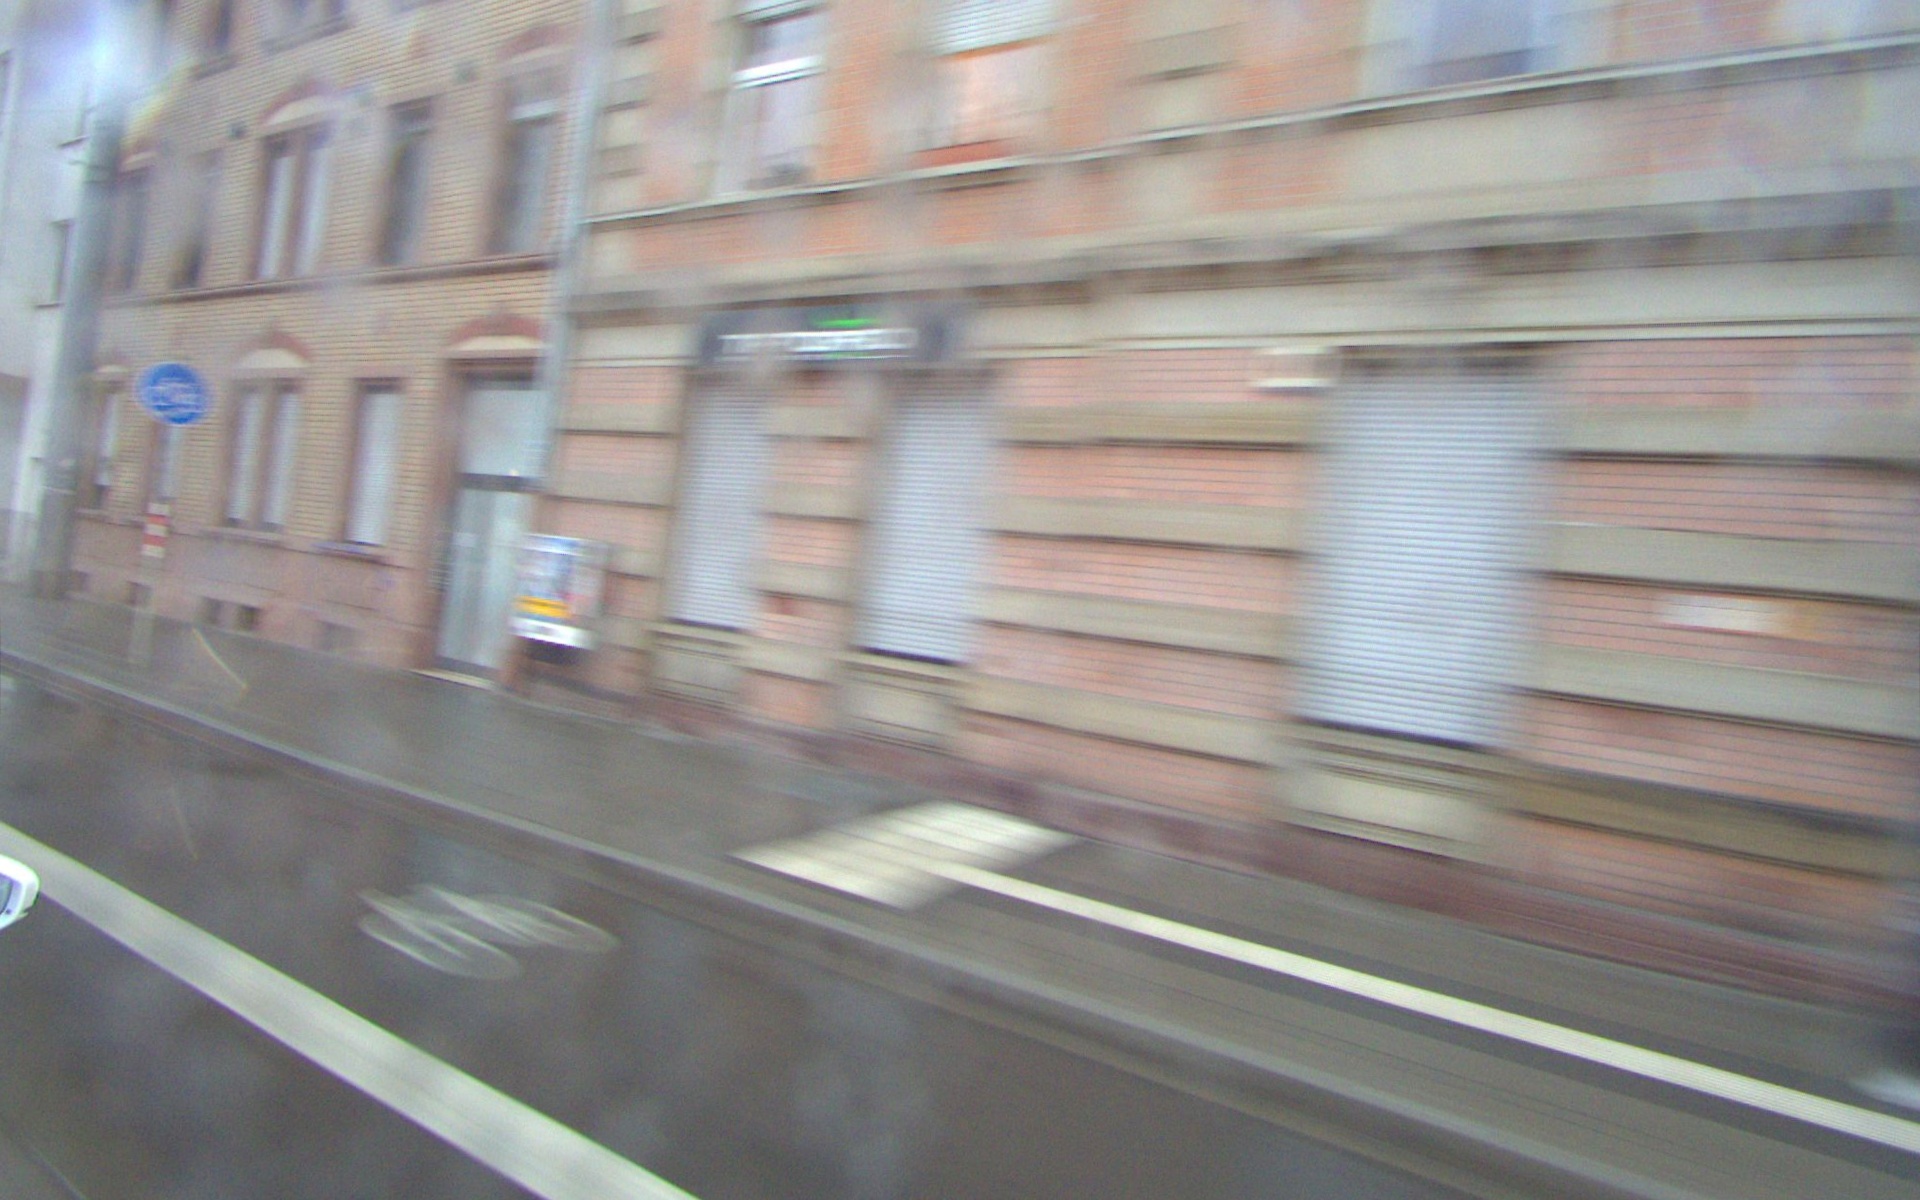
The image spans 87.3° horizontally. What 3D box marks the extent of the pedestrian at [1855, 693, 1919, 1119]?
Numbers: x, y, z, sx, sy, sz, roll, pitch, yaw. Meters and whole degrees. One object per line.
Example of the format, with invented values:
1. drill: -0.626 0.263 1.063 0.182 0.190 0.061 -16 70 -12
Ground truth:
1. pedestrian: 4.006 1.179 3.795 0.699 1.566 0.632 7 -1 33
